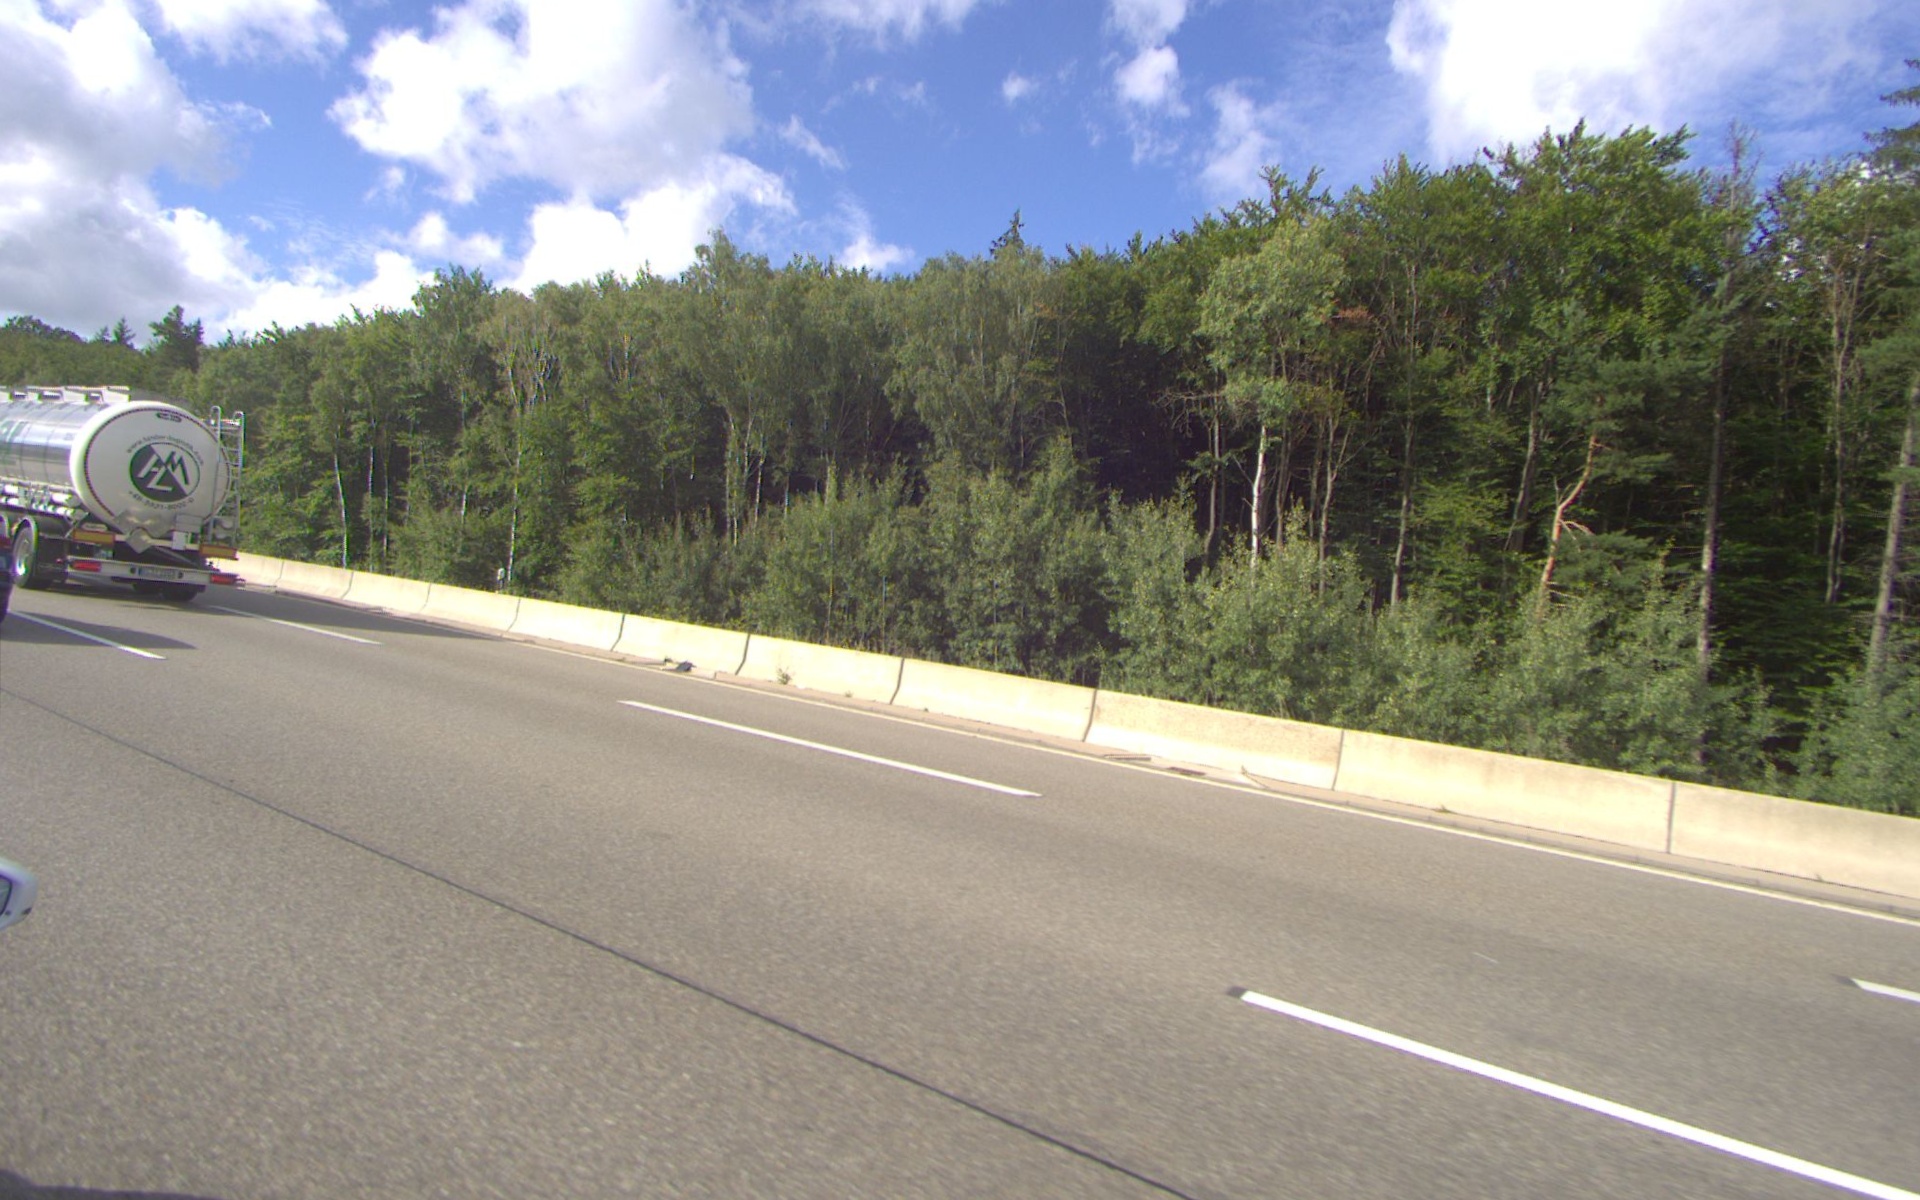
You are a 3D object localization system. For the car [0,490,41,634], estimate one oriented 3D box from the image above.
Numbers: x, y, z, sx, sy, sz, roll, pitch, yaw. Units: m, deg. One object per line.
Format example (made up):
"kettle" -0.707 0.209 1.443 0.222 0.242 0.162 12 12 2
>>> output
"car" -12.572 -0.688 11.522 4.383 1.548 1.776 7 -1 32

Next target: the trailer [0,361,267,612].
"trailer" -18.269 -2.349 20.267 11.668 3.813 2.651 7 0 33

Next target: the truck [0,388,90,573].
"truck" -23.373 -2.950 23.643 5.983 3.870 2.651 7 0 33
